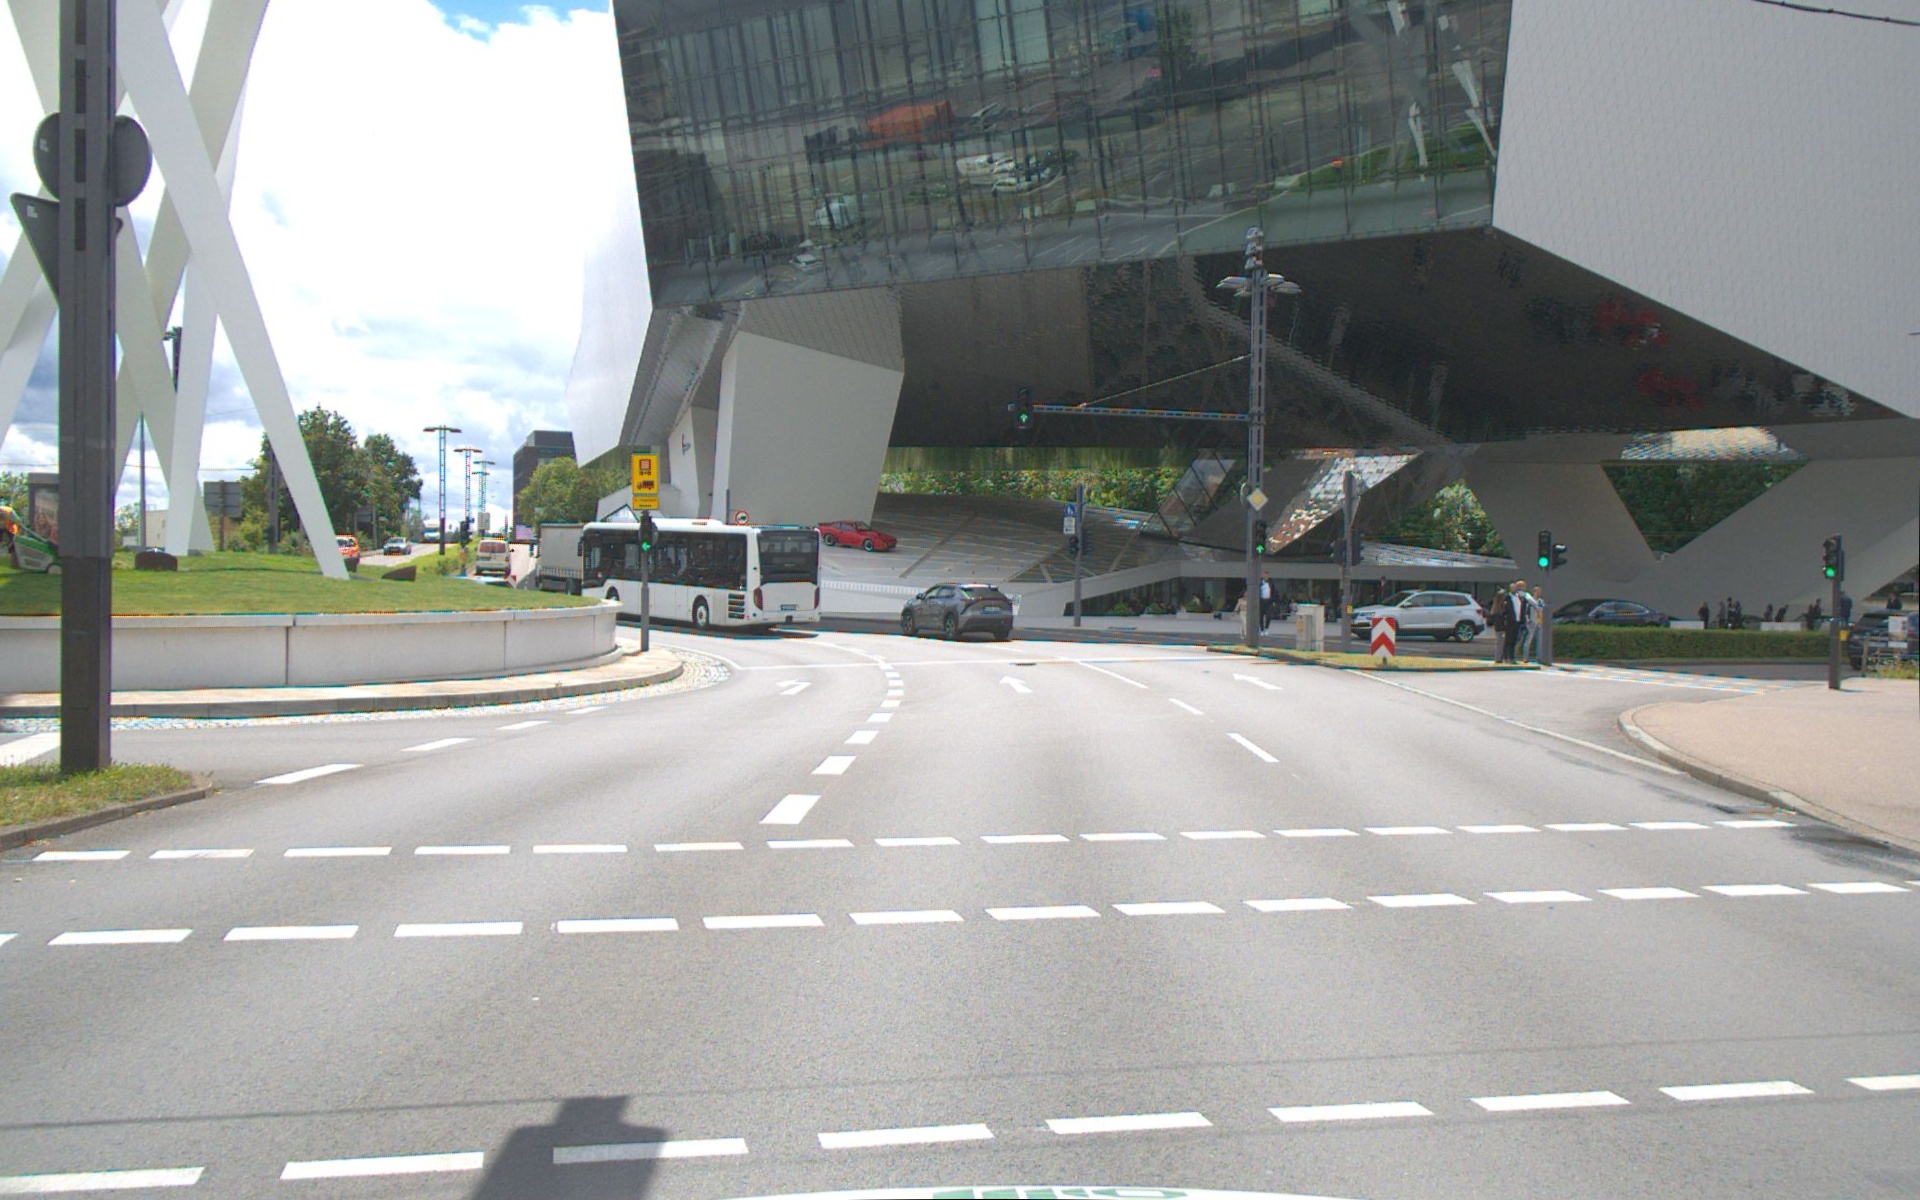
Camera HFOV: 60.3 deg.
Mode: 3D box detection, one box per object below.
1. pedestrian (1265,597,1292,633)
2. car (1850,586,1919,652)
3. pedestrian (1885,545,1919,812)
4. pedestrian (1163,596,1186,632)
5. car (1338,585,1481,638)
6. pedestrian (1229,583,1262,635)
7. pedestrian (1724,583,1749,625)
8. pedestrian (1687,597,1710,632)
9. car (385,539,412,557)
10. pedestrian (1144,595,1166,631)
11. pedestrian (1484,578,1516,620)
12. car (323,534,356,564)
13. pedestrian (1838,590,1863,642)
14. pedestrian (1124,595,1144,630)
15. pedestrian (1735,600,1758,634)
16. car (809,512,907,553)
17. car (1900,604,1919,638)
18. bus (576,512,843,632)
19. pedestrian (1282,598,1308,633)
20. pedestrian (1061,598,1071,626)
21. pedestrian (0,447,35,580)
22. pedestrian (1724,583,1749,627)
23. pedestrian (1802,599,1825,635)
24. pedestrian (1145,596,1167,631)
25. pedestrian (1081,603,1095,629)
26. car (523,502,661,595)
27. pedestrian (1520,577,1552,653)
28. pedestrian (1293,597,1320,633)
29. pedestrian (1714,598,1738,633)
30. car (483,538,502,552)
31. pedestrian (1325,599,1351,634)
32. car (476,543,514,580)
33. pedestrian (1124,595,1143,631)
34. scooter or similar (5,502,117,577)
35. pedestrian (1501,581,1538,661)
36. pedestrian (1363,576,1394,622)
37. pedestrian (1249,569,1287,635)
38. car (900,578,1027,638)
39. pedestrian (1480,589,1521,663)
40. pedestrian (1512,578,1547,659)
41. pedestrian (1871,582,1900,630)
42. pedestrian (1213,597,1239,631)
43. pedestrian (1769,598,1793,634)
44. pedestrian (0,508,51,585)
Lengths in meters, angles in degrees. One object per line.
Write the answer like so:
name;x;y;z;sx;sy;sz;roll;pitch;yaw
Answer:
pedestrian;14.696;0.694;76.345;0.817;1.600;0.916;2;-1;-24
car;26.001;0.546;44.739;3.959;1.732;1.973;2;-1;-38
pedestrian;7.186;0.570;11.799;0.652;1.899;0.786;2;-1;-29
pedestrian;9.939;0.646;76.516;0.780;1.600;0.690;1;-1;37
car;14.039;0.354;51.704;3.913;1.577;1.835;-1;-1;-9
pedestrian;8.560;0.265;49.561;0.758;1.522;0.579;1;-1;43
pedestrian;37.909;0.193;80.772;0.817;2.049;0.768;2;-1;-33
pedestrian;38.355;0.761;85.916;0.816;1.769;0.769;2;-1;-30
car;-47.557;-4.421;140.189;1.725;1.421;4.659;2;3;-13
pedestrian;8.950;0.609;75.908;0.901;1.600;0.831;1;-1;12
pedestrian;22.339;-0.028;68.442;0.817;1.705;0.916;2;-1;-24
car;-42.423;-3.490;113.151;1.964;2.018;4.810;0;2;-20
pedestrian;35.296;0.641;65.577;0.759;2.049;0.827;1;-1;23
pedestrian;8.138;0.605;77.389;0.810;1.600;0.924;1;-1;13
pedestrian;41.112;0.898;86.440;0.817;1.769;0.768;2;-1;-33
car;-5.033;-3.347;81.552;4.421;1.418;1.996;9;8;32
car;60.081;1.312;101.293;4.129;2.049;1.991;1;-1;37
bus;-8.479;-0.845;53.949;3.050;3.421;12.056;2;-1;-38
pedestrian;15.611;0.706;77.109;0.817;1.600;0.916;2;-1;-24
pedestrian;5.005;0.575;77.788;0.386;1.275;0.400;2;-1;-4
pedestrian;-13.839;-1.232;23.405;1.269;1.848;0.977;-1;4;-31
pedestrian;37.399;0.244;79.648;0.817;2.049;0.768;2;-1;-33
pedestrian;42.857;0.853;83.068;0.819;1.769;0.766;2;-1;-38
pedestrian;9.123;0.630;77.083;0.901;1.600;0.831;1;-1;13
pedestrian;6.360;0.783;82.294;0.549;1.275;0.473;1;-1;25
car;-15.743;-2.032;70.195;3.298;3.565;9.254;2;-1;-28
pedestrian;13.825;0.358;39.690;0.594;1.790;0.619;1;-1;31
pedestrian;15.984;0.699;76.246;0.817;1.600;0.916;2;-1;-24
pedestrian;39.301;0.775;84.881;0.817;1.769;0.768;2;-1;-33
car;-59.017;-6.955;208.813;1.959;1.664;4.641;2;1;-13
pedestrian;17.568;0.754;76.886;0.815;1.600;0.919;2;-1;-17
car;-26.391;-2.147;93.810;1.962;1.937;3.982;2;-1;-17
pedestrian;7.989;0.595;76.257;0.810;1.600;0.924;1;-1;8
scooter or similar;-13.087;-0.886;24.085;1.388;1.043;0.544;-1;6;-34
pedestrian;12.940;0.486;38.248;0.659;1.826;0.618;1;-1;32
pedestrian;17.314;-0.033;68.459;0.817;1.858;0.916;2;-1;-24
pedestrian;9.738;0.040;52.333;0.934;2.019;1.382;2;1;1
car;0.059;0.231;48.859;1.974;1.665;3.957;2;-1;-31
pedestrian;12.258;0.594;37.539;0.667;1.667;0.611;2;-1;-42
pedestrian;13.363;0.437;38.798;0.658;1.879;0.619;1;-1;30
pedestrian;39.496;0.260;70.557;0.817;2.049;0.768;2;-1;-33
pedestrian;12.495;0.654;77.586;0.817;1.600;0.916;2;-1;-24
pedestrian;41.067;0.797;82.726;0.817;1.769;0.768;2;-1;-33
pedestrian;-19.307;-1.080;33.736;0.835;1.431;0.966;-5;-2;7
